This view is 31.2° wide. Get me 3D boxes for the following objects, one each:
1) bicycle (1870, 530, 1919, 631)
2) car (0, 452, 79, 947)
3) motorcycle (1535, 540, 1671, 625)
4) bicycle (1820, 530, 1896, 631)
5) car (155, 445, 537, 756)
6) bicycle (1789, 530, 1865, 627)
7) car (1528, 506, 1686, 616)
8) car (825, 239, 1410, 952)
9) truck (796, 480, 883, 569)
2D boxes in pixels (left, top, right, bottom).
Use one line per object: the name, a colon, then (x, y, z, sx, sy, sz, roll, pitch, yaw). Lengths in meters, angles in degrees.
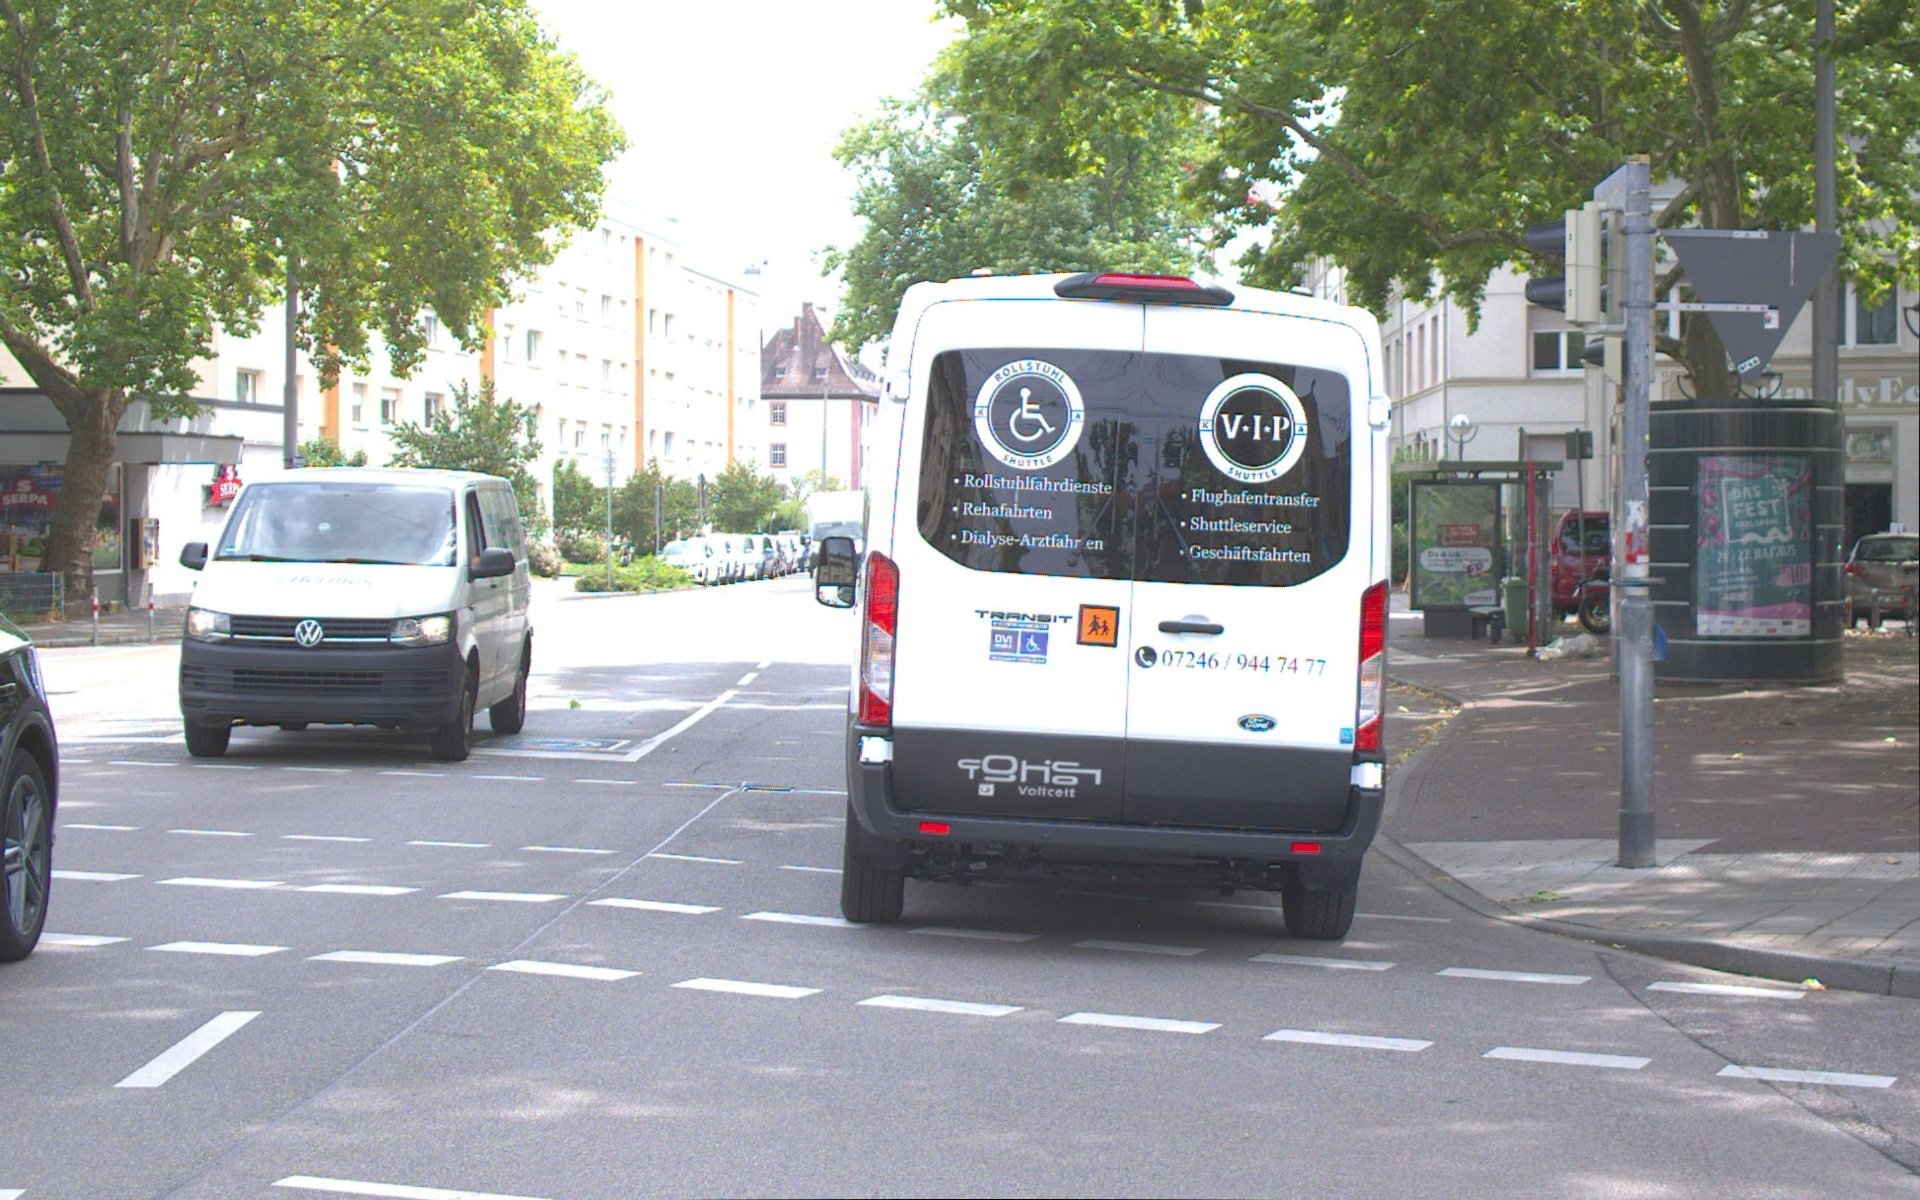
bicycle: (13.418, -0.296, 48.650, 0.419, 1.373, 2.307, 1, 2, 31)
car: (-4.046, 0.346, 10.213, 1.822, 1.641, 4.428, 1, 1, -2)
motorcycle: (9.371, -0.256, 50.119, 1.854, 1.218, 0.531, 0, 2, -4)
bicycle: (12.777, -0.292, 48.876, 0.419, 1.373, 2.307, 1, 2, 31)
car: (-4.190, -0.062, 24.237, 1.923, 1.930, 4.948, 1, 1, -2)
bicycle: (12.458, -0.316, 49.369, 0.419, 1.373, 2.307, 1, 1, 31)
car: (10.501, -0.647, 55.597, 1.934, 1.700, 4.327, 1, 1, 18)
car: (0.605, -0.024, 14.605, 2.070, 2.532, 4.634, 0, 0, 1)
truck: (-4.372, -2.768, 125.969, 2.541, 3.097, 7.020, -2, 1, 3)
